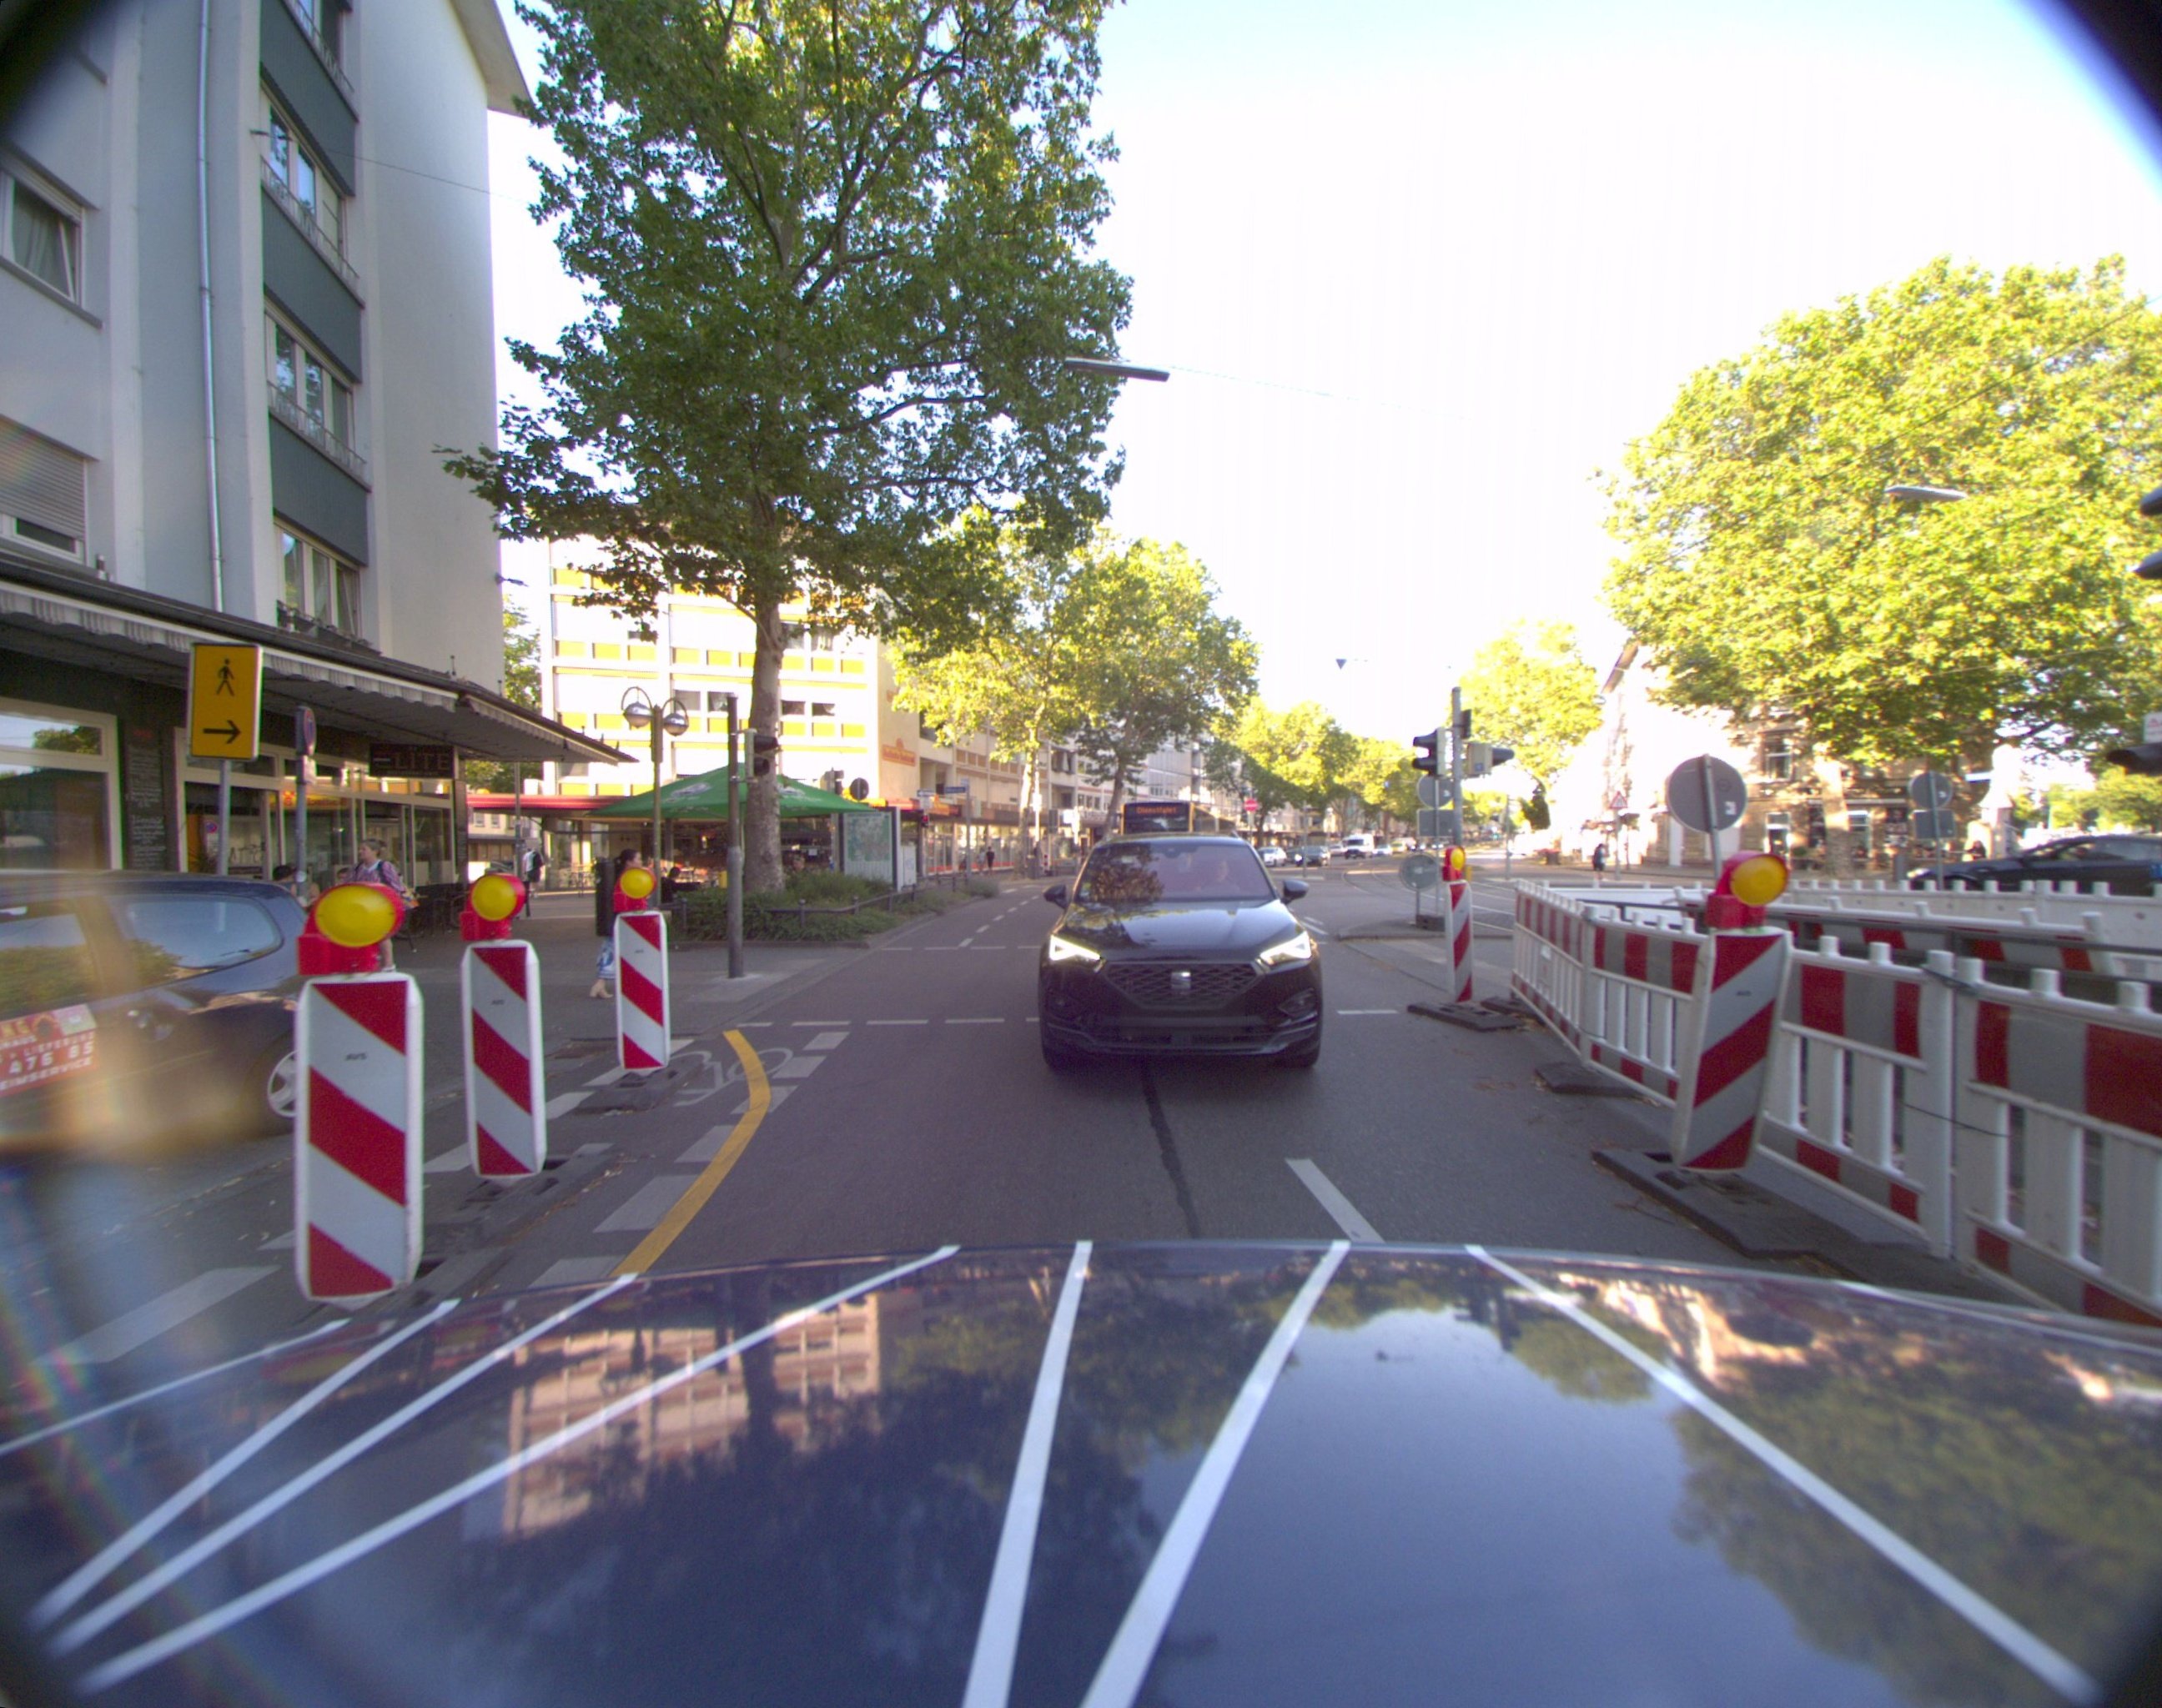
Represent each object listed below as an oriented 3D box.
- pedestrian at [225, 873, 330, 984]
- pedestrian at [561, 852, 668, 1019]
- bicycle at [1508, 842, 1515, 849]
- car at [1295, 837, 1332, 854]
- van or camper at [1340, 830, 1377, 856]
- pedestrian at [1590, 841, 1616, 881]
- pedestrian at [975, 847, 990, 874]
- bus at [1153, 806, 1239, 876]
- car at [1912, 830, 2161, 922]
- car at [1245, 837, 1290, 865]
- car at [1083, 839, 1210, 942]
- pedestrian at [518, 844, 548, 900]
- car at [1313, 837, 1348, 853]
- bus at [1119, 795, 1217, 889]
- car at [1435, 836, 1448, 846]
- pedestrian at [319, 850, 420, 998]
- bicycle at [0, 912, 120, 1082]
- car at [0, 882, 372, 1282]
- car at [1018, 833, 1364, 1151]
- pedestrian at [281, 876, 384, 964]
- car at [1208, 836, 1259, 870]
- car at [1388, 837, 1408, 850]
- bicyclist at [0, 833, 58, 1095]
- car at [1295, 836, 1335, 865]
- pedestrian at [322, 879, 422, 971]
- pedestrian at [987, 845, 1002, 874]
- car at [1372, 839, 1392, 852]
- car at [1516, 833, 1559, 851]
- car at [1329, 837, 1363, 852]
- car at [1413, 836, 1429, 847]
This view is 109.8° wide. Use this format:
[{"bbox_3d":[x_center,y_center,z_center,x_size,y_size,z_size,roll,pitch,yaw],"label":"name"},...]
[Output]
[{"bbox_3d":[-10.224,0.915,9.676,0.789,1.299,0.701,0,1,28],"label":"pedestrian"},{"bbox_3d":[-4.847,0.814,7.944,0.583,1.637,0.796,-1,2,-1],"label":"pedestrian"},{"bbox_3d":[72.652,-1.373,128.281,0.850,1.186,2.470,0,1,27],"label":"bicycle"},{"bbox_3d":[28.693,-1.029,93.865,3.994,2.002,2.001,0,1,8],"label":"car"},{"bbox_3d":[29.603,-1.199,81.016,2.419,2.702,6.144,0,1,32],"label":"van or camper"},{"bbox_3d":[20.427,0.276,29.756,0.603,1.525,0.745,0,1,12],"label":"pedestrian"},{"bbox_3d":[-5.317,0.345,41.152,0.627,1.429,0.532,0,1,21],"label":"pedestrian"},{"bbox_3d":[5.953,-0.633,37.896,2.717,3.088,8.608,0,1,19],"label":"bus"},{"bbox_3d":[20.137,0.374,15.032,2.002,1.652,4.550,-1,1,-21],"label":"car"},{"bbox_3d":[13.854,-0.269,56.261,1.994,2.002,4.008,0,1,33],"label":"car"},{"bbox_3d":[1.078,0.555,14.135,1.998,1.634,4.075,-1,1,1],"label":"car"},{"bbox_3d":[-19.499,0.624,27.043,0.887,1.948,0.650,1,2,43],"label":"pedestrian"},{"bbox_3d":[32.664,-1.139,99.553,3.994,2.002,2.001,0,1,8],"label":"car"},{"bbox_3d":[3.617,-0.452,29.498,2.718,3.088,8.629,0,1,13],"label":"bus"},{"bbox_3d":[70.466,-2.521,148.602,1.836,1.792,4.138,0,1,31],"label":"car"},{"bbox_3d":[-8.144,0.773,8.720,0.629,1.628,0.531,-1,1,-14],"label":"pedestrian"},{"bbox_3d":[-7.869,1.014,4.997,0.751,1.123,1.885,2,0,-5],"label":"bicycle"},{"bbox_3d":[-5.191,0.958,2.821,1.771,1.459,3.610,2,1,-2],"label":"car"},{"bbox_3d":[0.627,0.717,6.074,1.841,1.696,3.999,-1,1,1],"label":"car"},{"bbox_3d":[-10.711,0.925,10.904,0.647,1.186,0.792,0,1,7],"label":"pedestrian"},{"bbox_3d":[9.505,-0.113,47.131,1.995,2.002,4.105,0,1,29],"label":"car"},{"bbox_3d":[42.988,-1.416,103.050,1.836,1.792,4.138,0,1,31],"label":"car"},{"bbox_3d":[-7.860,0.763,5.071,0.753,1.816,0.925,1,2,-4],"label":"bicyclist"},{"bbox_3d":[16.775,-0.287,54.340,1.995,2.002,4.007,0,1,28],"label":"car"},{"bbox_3d":[-9.867,0.960,10.584,0.877,1.186,0.701,0,1,24],"label":"pedestrian"},{"bbox_3d":[-4.645,0.291,40.909,0.627,1.577,0.532,0,1,21],"label":"pedestrian"},{"bbox_3d":[36.306,-1.010,91.607,1.700,1.462,3.771,0,1,31],"label":"car"},{"bbox_3d":[52.718,-1.387,87.848,4.001,2.002,1.997,-1,1,-13],"label":"car"},{"bbox_3d":[36.348,-1.328,104.267,3.994,2.002,2.001,0,1,8],"label":"car"},{"bbox_3d":[55.546,-2.052,124.036,1.836,1.792,4.138,0,1,31],"label":"car"}]
